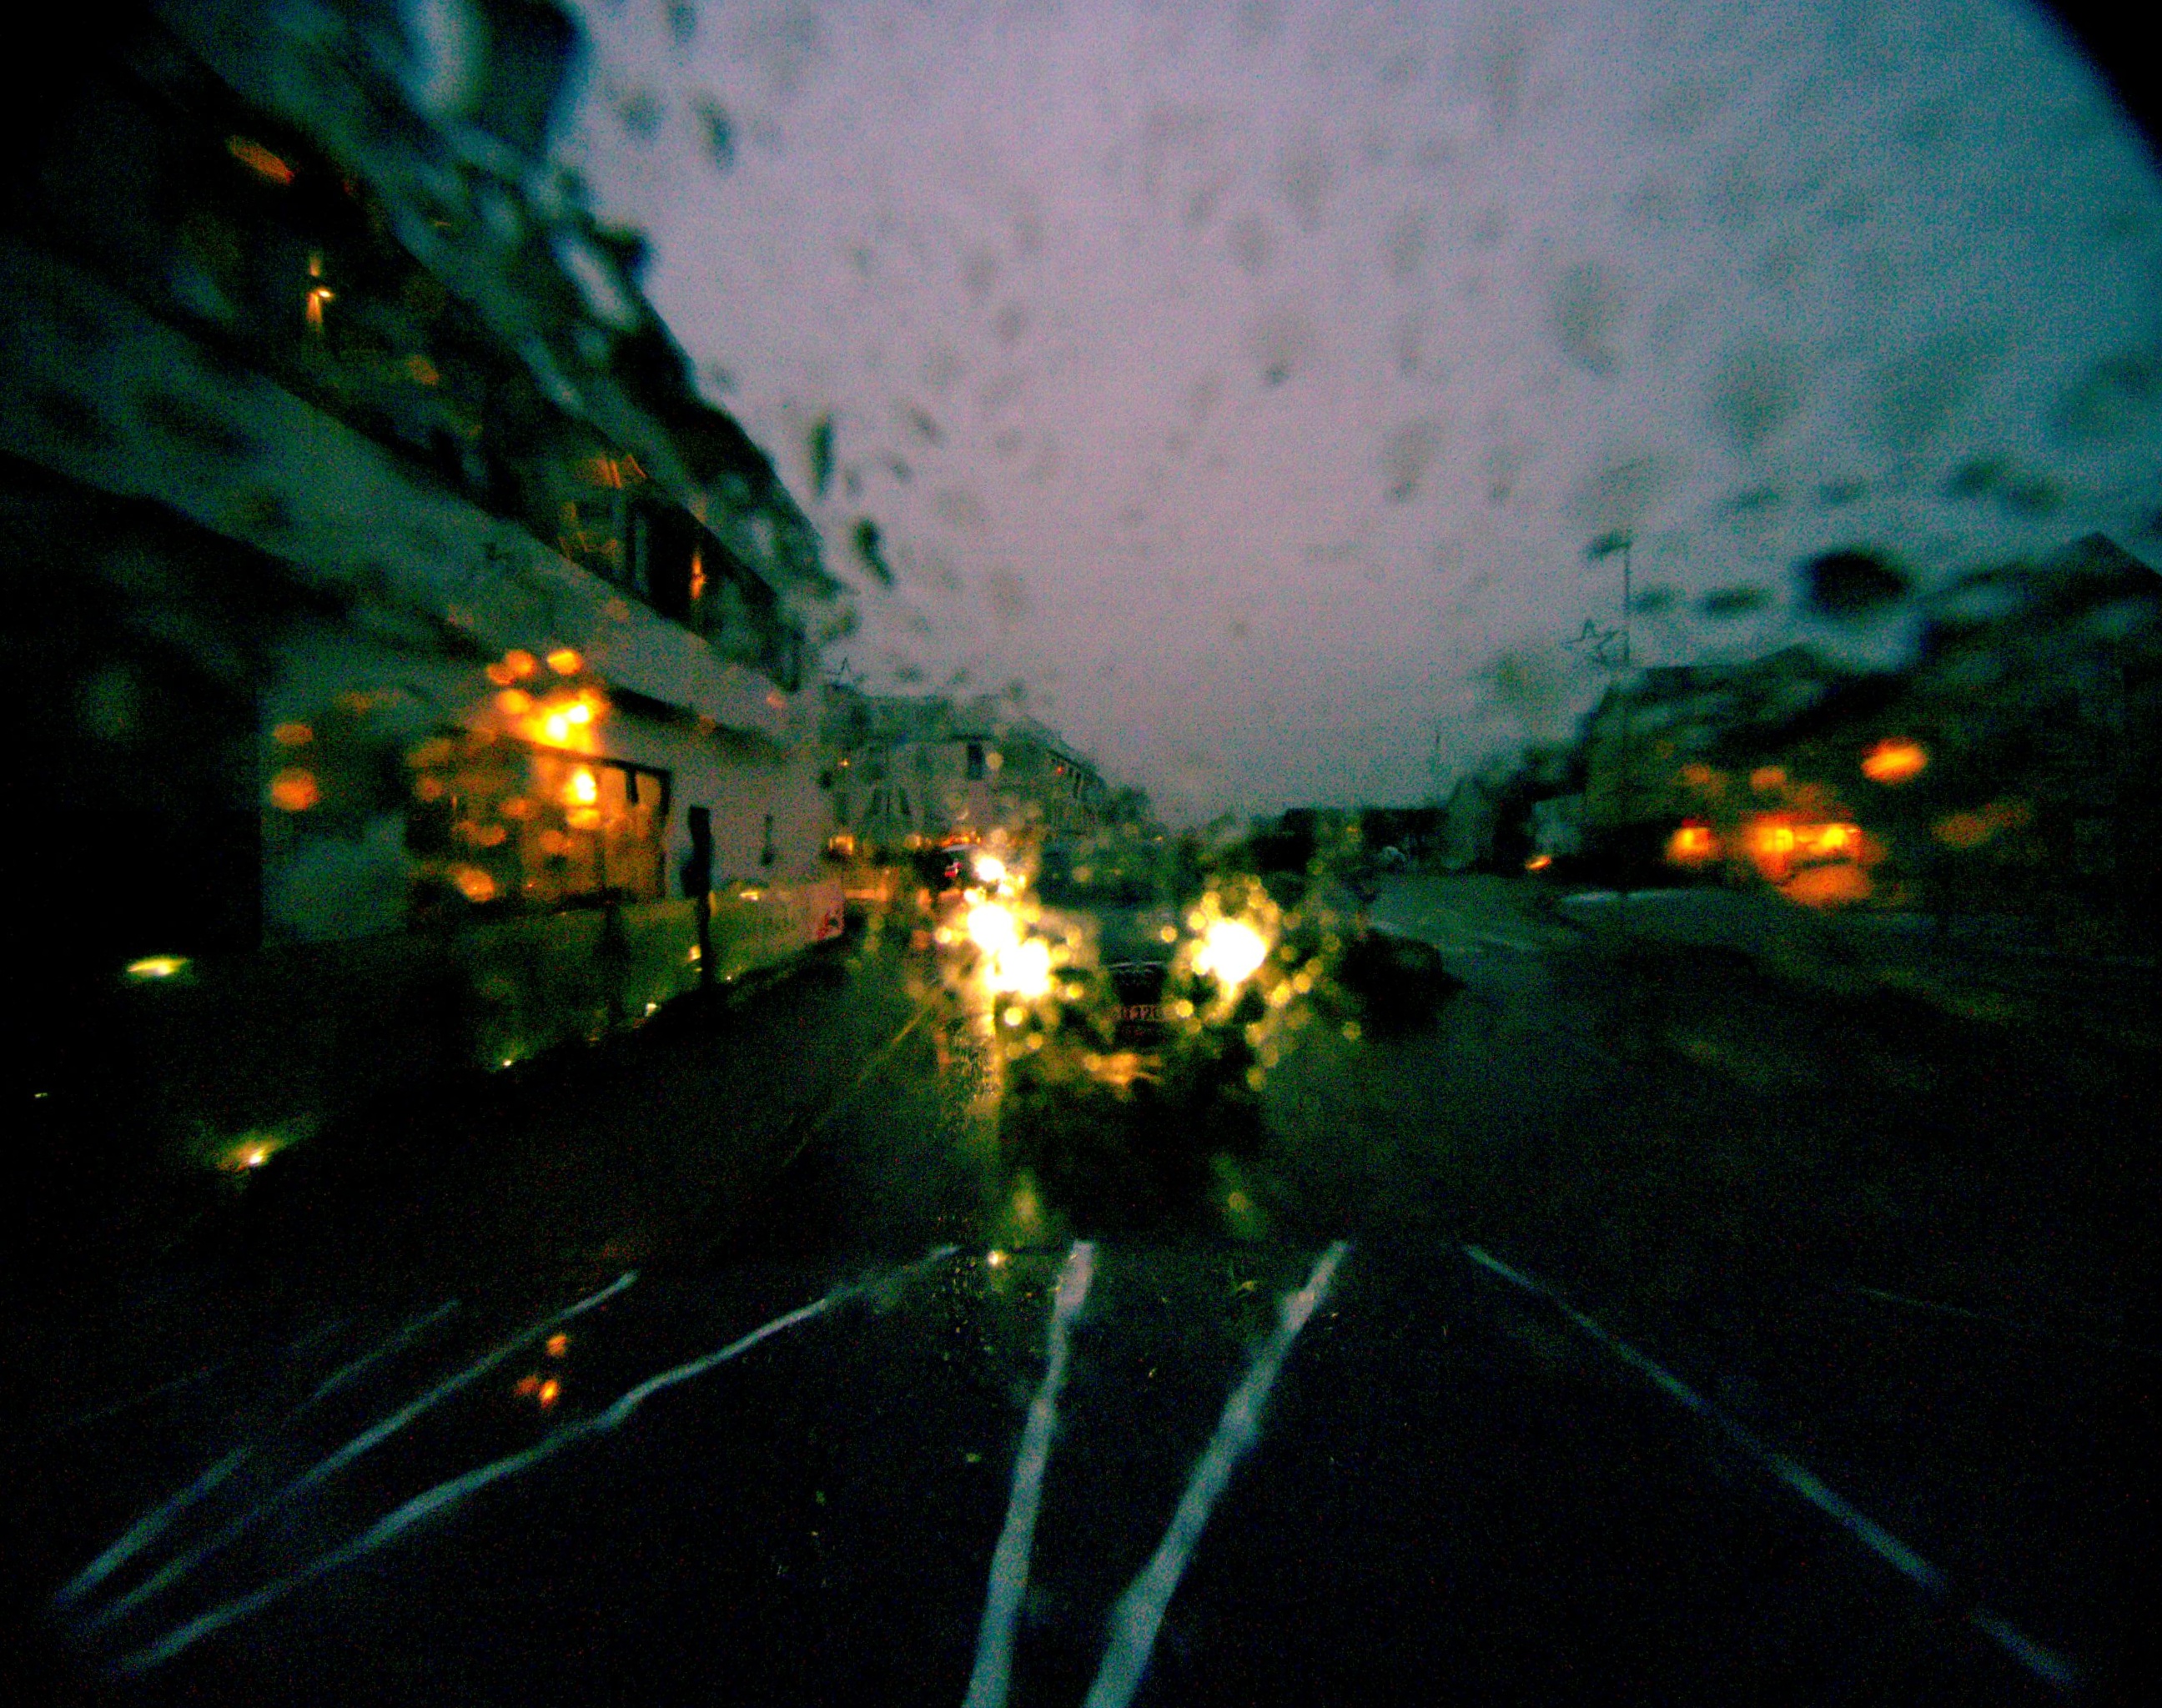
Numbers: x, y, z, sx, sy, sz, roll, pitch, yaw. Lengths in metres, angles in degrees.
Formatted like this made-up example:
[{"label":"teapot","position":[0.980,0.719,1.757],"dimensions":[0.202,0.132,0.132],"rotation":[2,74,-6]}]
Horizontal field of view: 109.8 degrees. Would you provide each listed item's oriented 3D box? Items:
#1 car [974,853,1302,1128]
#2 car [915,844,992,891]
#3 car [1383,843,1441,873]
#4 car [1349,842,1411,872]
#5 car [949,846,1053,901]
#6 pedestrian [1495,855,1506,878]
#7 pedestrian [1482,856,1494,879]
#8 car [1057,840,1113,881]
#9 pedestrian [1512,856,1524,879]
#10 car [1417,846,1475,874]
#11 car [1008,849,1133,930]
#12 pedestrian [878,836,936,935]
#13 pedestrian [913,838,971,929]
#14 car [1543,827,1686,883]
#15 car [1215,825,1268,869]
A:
[{"label":"car","position":[0.318,0.825,6.665],"dimensions":[1.958,1.576,4.109],"rotation":[-1,1,-1]},{"label":"car","position":[-5.437,0.534,32.939],"dimensions":[1.823,1.736,4.002],"rotation":[-2,3,13]},{"label":"car","position":[24.633,0.268,56.659],"dimensions":[1.926,2.003,3.966],"rotation":[-3,3,-13]},{"label":"car","position":[22.009,0.168,56.095],"dimensions":[1.974,1.984,3.990],"rotation":[-3,3,-26]},{"label":"car","position":[-2.717,0.554,24.816],"dimensions":[2.031,1.471,4.547],"rotation":[-3,3,-24]},{"label":"pedestrian","position":[30.737,0.925,55.682],"dimensions":[0.582,1.602,0.500],"rotation":[-2,3,5]},{"label":"pedestrian","position":[29.779,0.969,55.597],"dimensions":[0.582,1.602,0.500],"rotation":[-2,3,5]},{"label":"car","position":[0.181,0.229,32.611],"dimensions":[2.172,1.469,3.998],"rotation":[-2,2,1]},{"label":"pedestrian","position":[31.300,0.939,54.457],"dimensions":[0.582,1.602,0.500],"rotation":[-2,3,5]},{"label":"car","position":[27.296,0.428,57.004],"dimensions":[1.936,1.871,3.866],"rotation":[-3,3,-13]},{"label":"car","position":[-0.372,0.683,17.147],"dimensions":[1.765,1.471,4.013],"rotation":[-3,2,-16]},{"label":"pedestrian","position":[-3.433,0.589,14.954],"dimensions":[0.789,1.856,0.711],"rotation":[1,4,44]},{"label":"pedestrian","position":[-2.830,0.570,15.446],"dimensions":[0.789,1.752,0.770],"rotation":[1,4,44]},{"label":"car","position":[20.778,0.016,29.774],"dimensions":[4.452,2.003,2.003],"rotation":[0,3,34]},{"label":"car","position":[8.081,-0.404,37.932],"dimensions":[2.055,1.976,4.541],"rotation":[-1,3,18]}]
